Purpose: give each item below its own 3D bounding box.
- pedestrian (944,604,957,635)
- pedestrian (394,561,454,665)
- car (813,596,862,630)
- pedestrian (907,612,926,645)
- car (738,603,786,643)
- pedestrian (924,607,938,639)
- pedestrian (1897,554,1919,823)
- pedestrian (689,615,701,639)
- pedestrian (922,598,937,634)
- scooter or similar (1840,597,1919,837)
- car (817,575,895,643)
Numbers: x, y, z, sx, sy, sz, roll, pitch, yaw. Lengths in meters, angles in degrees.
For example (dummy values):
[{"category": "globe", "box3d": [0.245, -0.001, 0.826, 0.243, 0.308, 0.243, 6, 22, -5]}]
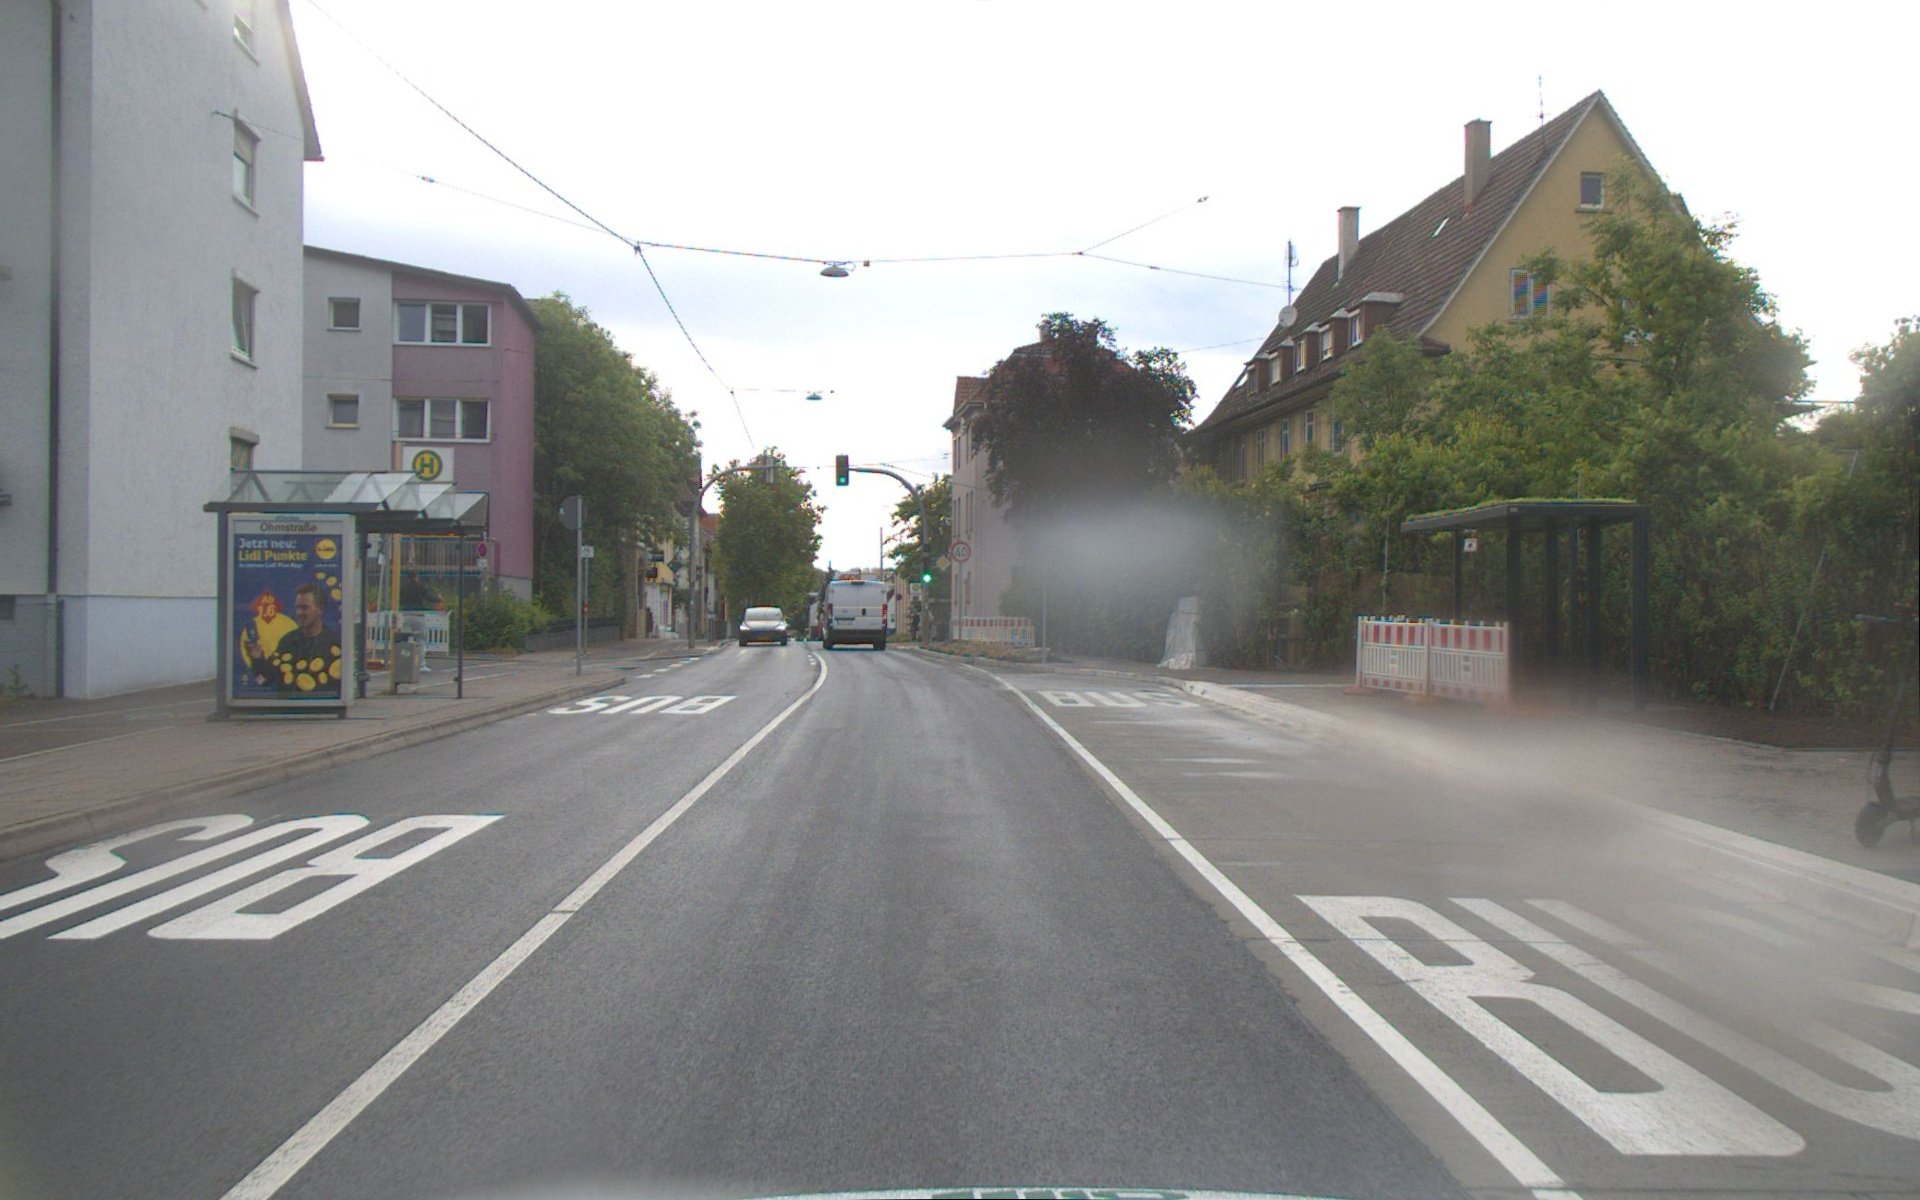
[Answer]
[{"category": "pedestrian", "box3d": [-0.564, 1.166, 98.260, 0.633, 1.864, 0.742, -1, -1, 8]}, {"category": "pedestrian", "box3d": [-10.039, 0.241, 31.003, 0.845, 1.915, 1.043, 0, 0, -5]}, {"category": "car", "box3d": [-6.473, 0.702, 86.985, 2.303, 1.758, 4.768, 0, -1, -8]}, {"category": "pedestrian", "box3d": [-2.317, 1.527, 88.176, 0.630, 1.740, 0.738, -1, -2, -40]}, {"category": "car", "box3d": [-7.587, 0.846, 63.323, 1.749, 1.478, 4.382, 0, 0, -7]}, {"category": "pedestrian", "box3d": [-1.625, 1.288, 92.512, 0.648, 1.772, 0.827, -1, -1, -11]}, {"category": "pedestrian", "box3d": [6.057, 0.517, 9.840, 0.911, 1.574, 0.537, 0, -1, -38]}, {"category": "pedestrian", "box3d": [-19.159, 1.938, 119.656, 0.800, 1.709, 0.991, 2, -3, -8]}, {"category": "pedestrian", "box3d": [-1.642, 0.869, 89.236, 0.477, 1.908, 0.632, -3, -1, 25]}, {"category": "scooter or similar", "box3d": [5.535, 0.657, 9.722, 1.232, 1.338, 0.229, 0, 0, -41]}, {"category": "car", "box3d": [-3.596, 0.323, 56.531, 2.303, 2.198, 4.768, 0, -1, -8]}]
